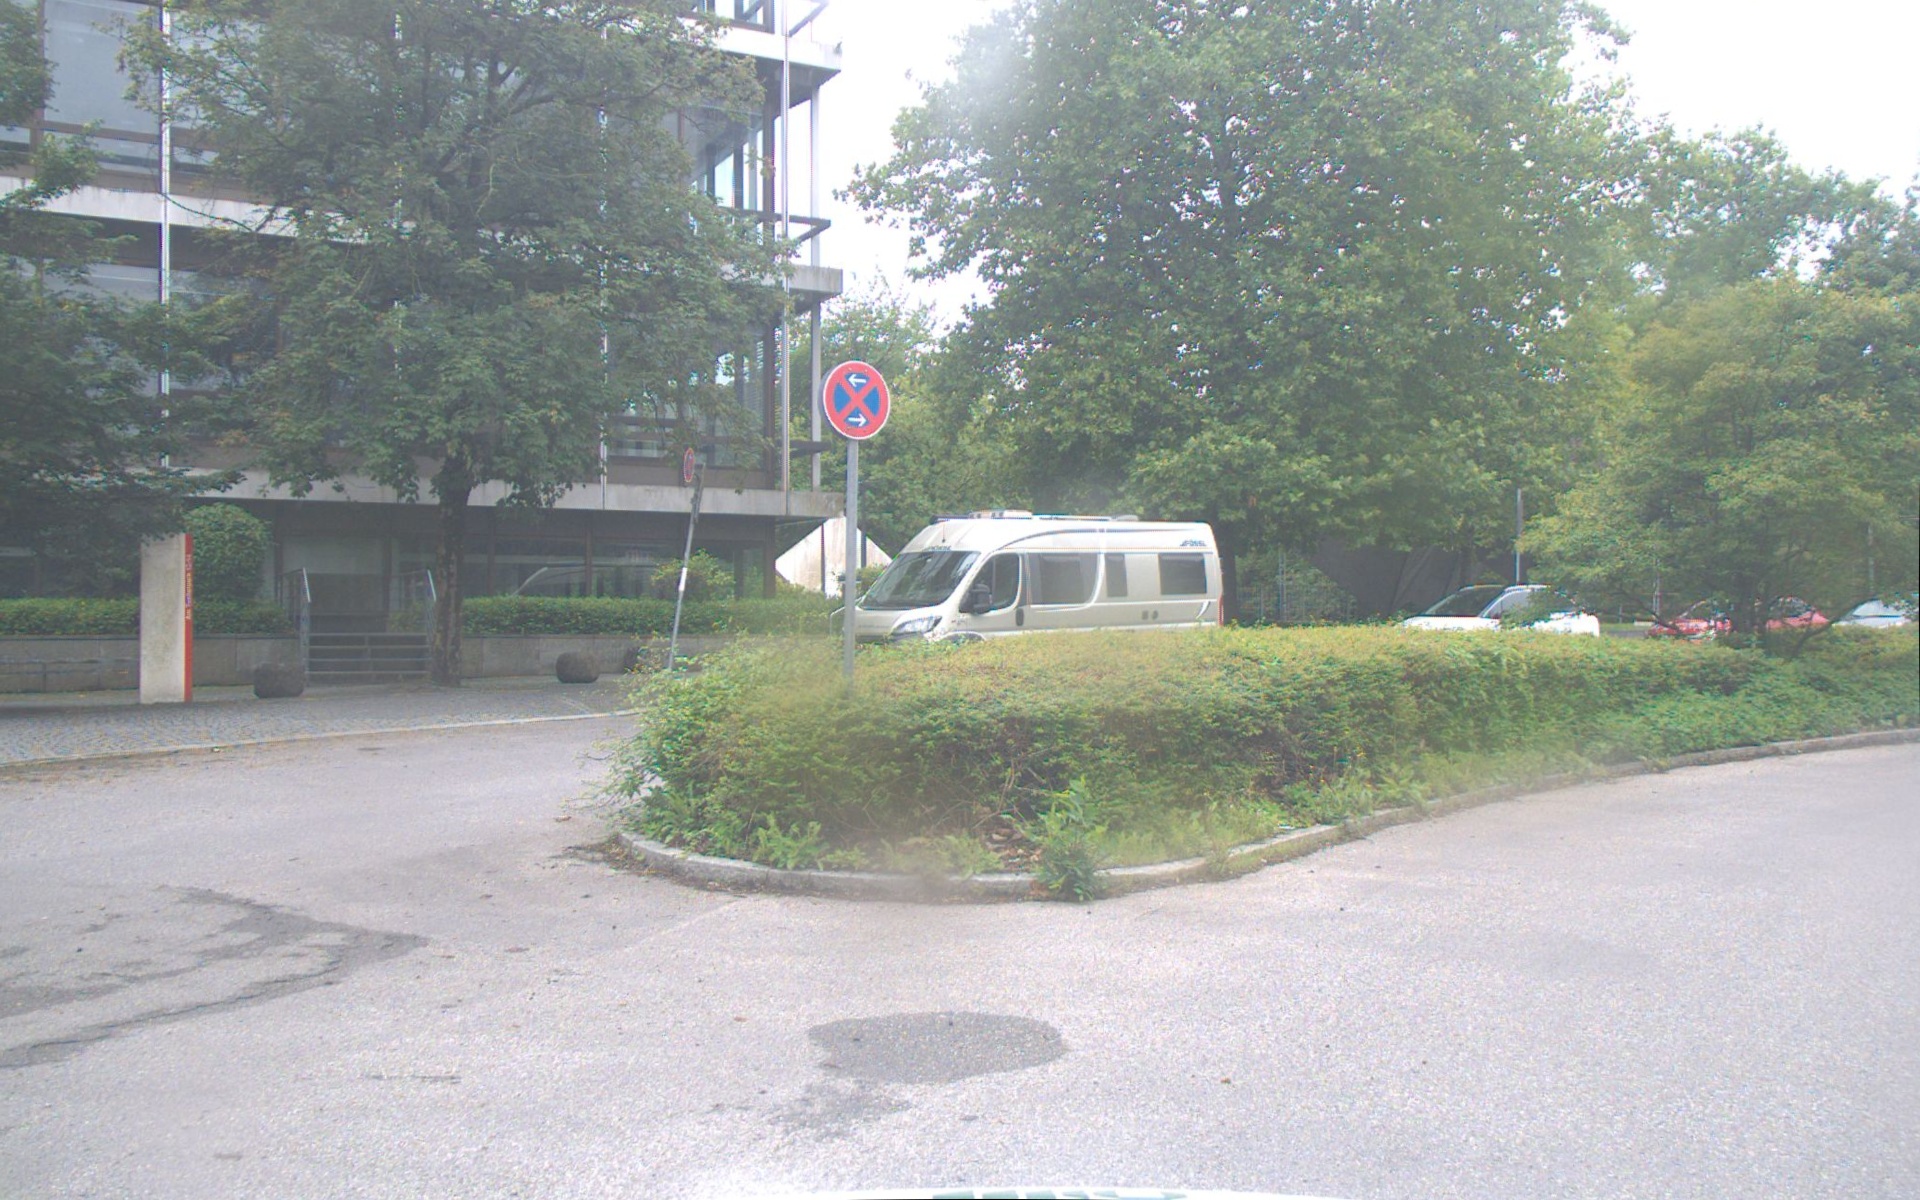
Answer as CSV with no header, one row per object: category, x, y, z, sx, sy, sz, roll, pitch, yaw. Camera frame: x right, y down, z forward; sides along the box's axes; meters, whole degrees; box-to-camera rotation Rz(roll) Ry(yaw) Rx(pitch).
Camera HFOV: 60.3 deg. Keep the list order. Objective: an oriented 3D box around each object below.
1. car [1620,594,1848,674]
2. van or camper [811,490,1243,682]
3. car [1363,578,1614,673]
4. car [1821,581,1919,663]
car,14.759,0.612,31.529,3.940,1.434,1.982,0,0,-28
van or camper,1.105,-0.156,23.048,6.366,2.321,2.220,0,0,-43
car,9.164,0.408,28.682,3.940,1.534,1.982,0,0,-28
car,20.012,0.433,34.272,3.940,1.602,1.982,0,0,-28
